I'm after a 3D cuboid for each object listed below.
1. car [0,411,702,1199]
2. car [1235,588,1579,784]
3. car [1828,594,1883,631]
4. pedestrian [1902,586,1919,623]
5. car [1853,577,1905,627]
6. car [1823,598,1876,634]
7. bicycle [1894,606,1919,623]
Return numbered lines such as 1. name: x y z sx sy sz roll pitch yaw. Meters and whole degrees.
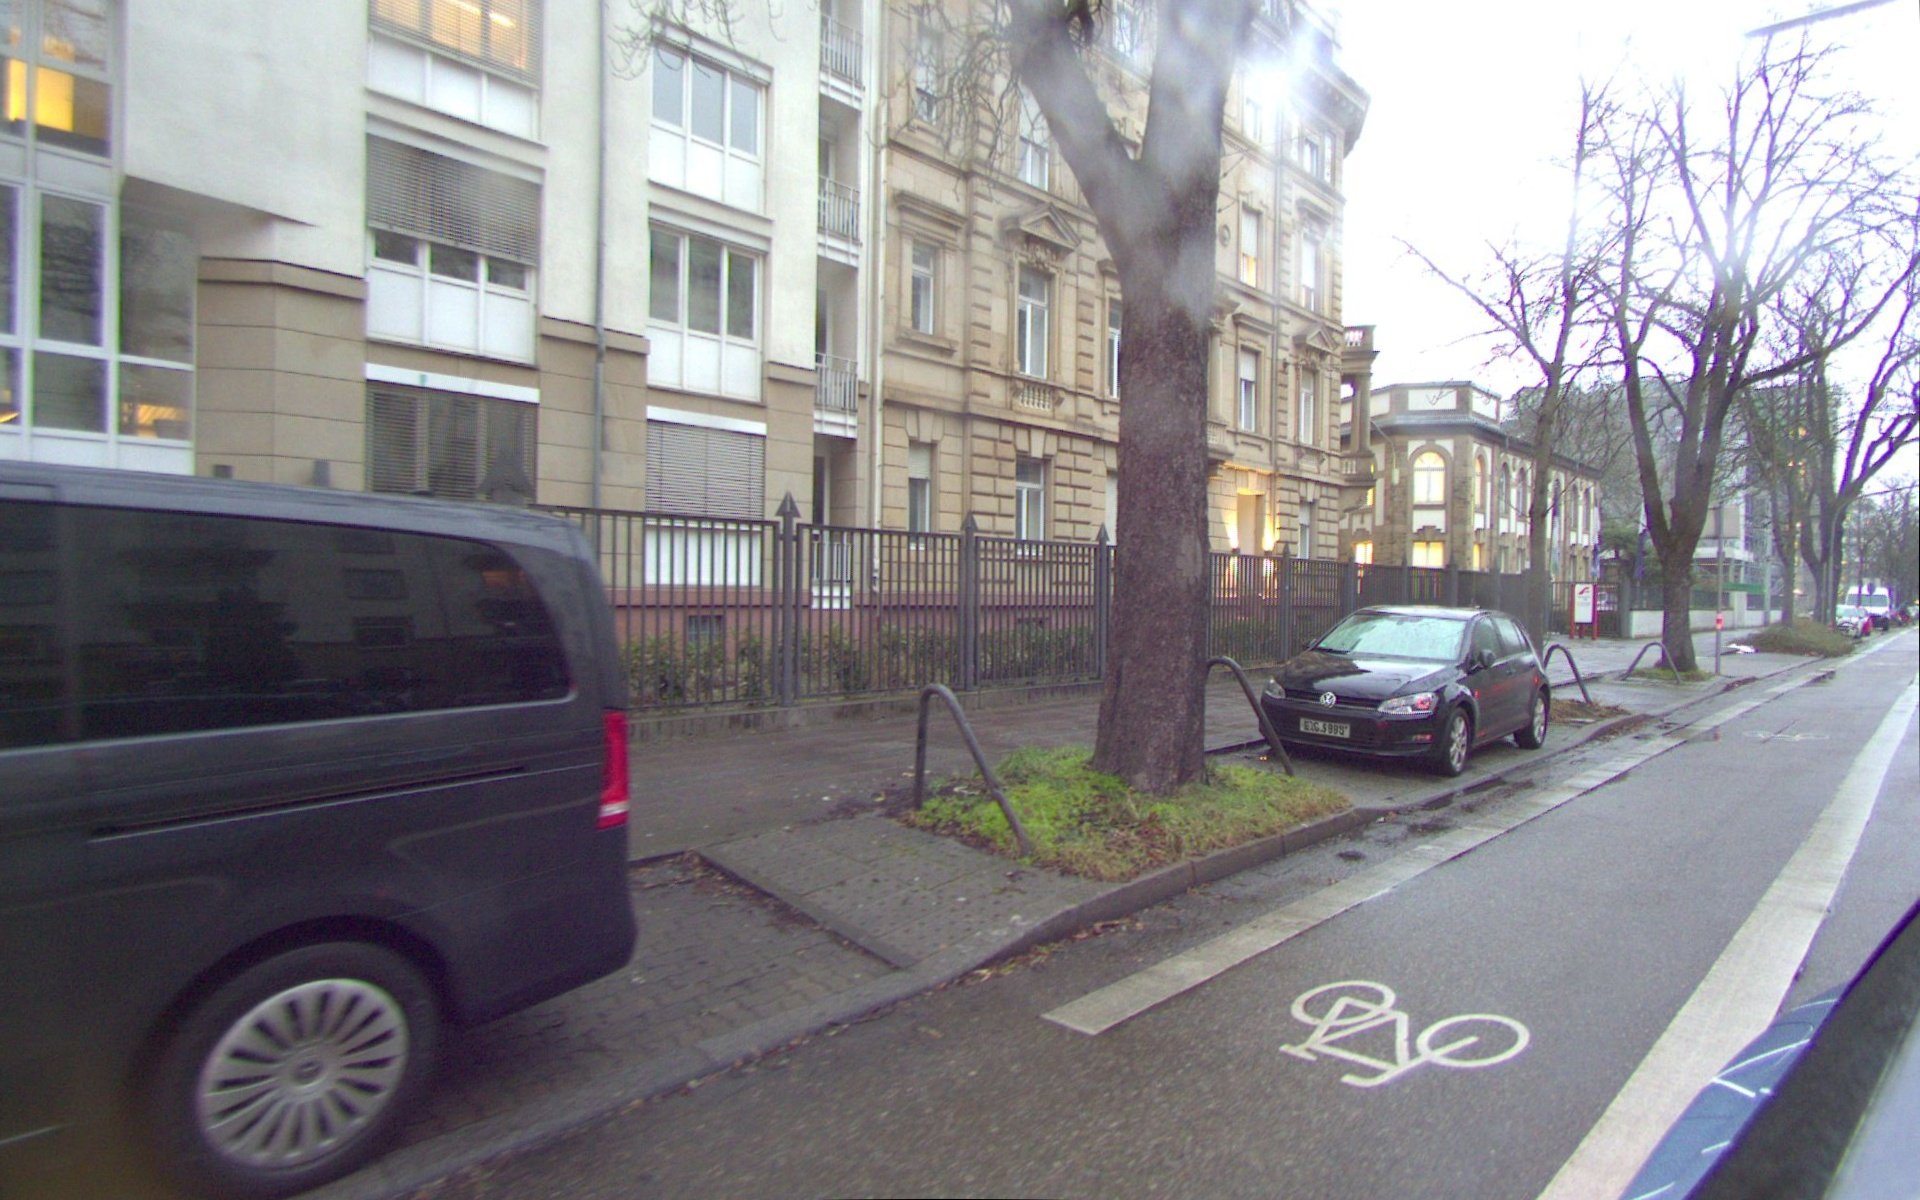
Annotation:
1. car: -3.282 0.526 2.259 4.882 1.899 2.032 0 2 -44
2. car: 4.579 0.683 10.046 1.759 1.463 4.091 4 2 44
3. car: 44.775 0.594 50.601 1.993 1.703 3.939 0 1 42
4. pedestrian: 59.906 0.295 63.504 1.115 2.287 0.938 0 0 43
5. car: 51.978 0.075 57.245 2.086 2.670 5.366 0 1 42
6. car: 38.143 0.637 43.371 1.623 1.425 3.939 0 1 42
7. bicycle: 59.908 0.911 63.505 1.913 1.004 0.845 0 1 44
